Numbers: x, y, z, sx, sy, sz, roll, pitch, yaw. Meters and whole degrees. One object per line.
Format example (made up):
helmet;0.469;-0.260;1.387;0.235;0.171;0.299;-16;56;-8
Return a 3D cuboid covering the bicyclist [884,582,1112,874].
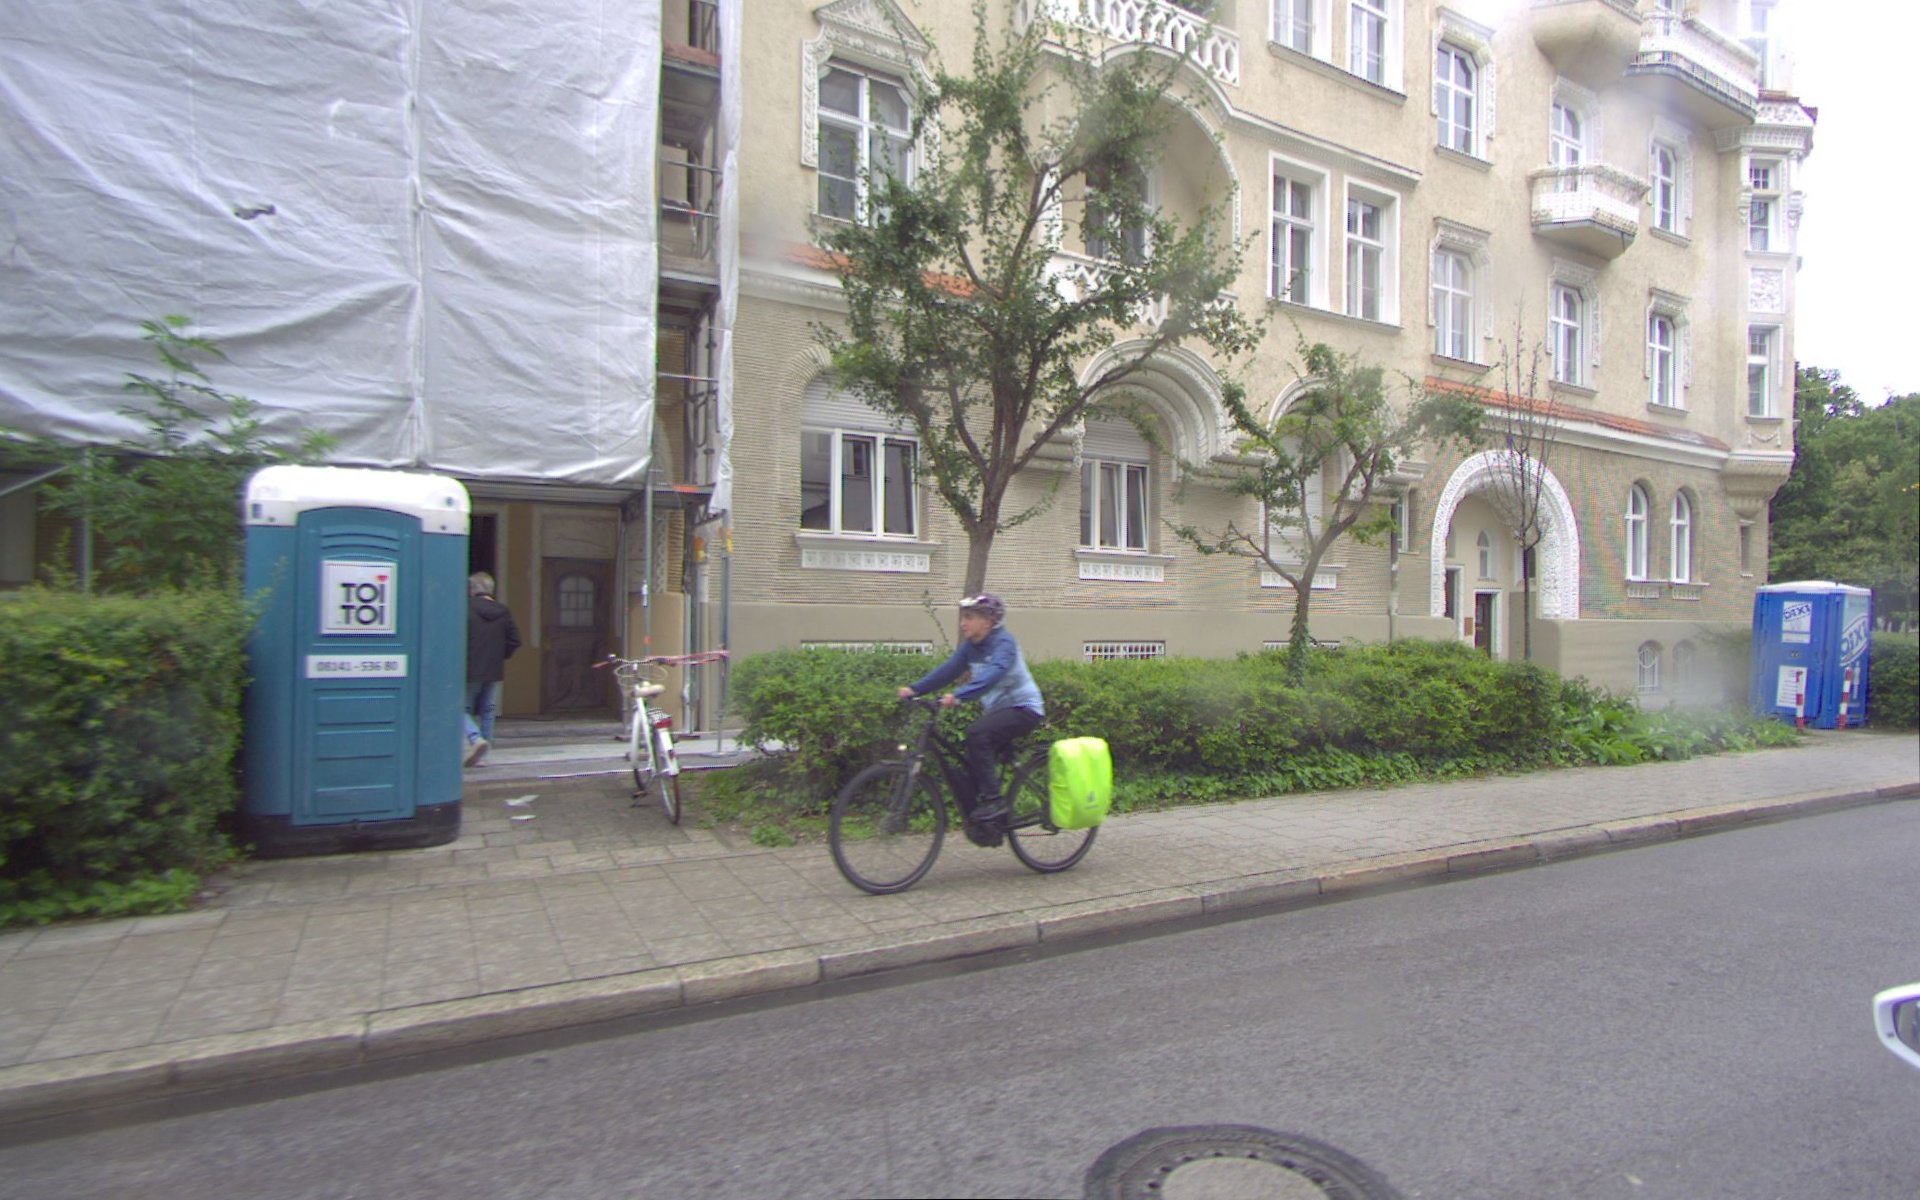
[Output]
bicyclist;0.211;0.672;5.811;1.048;1.512;0.764;1;0;-30

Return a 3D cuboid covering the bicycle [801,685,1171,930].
bicycle;0.182;1.095;5.794;2.026;1.096;0.764;1;0;-30

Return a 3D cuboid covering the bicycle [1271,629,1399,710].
bicycle;6.136;1.104;16.422;2.052;1.222;0.817;1;0;-29

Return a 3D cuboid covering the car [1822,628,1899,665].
car;48.950;2.504;54.582;4.809;1.929;2.070;2;-2;-35

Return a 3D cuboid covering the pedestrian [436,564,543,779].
pedestrian;-4.127;0.596;8.792;0.764;1.769;0.766;1;0;-30

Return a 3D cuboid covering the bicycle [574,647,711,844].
bicycle;-2.389;0.978;7.410;0.681;1.092;1.853;1;3;-26
